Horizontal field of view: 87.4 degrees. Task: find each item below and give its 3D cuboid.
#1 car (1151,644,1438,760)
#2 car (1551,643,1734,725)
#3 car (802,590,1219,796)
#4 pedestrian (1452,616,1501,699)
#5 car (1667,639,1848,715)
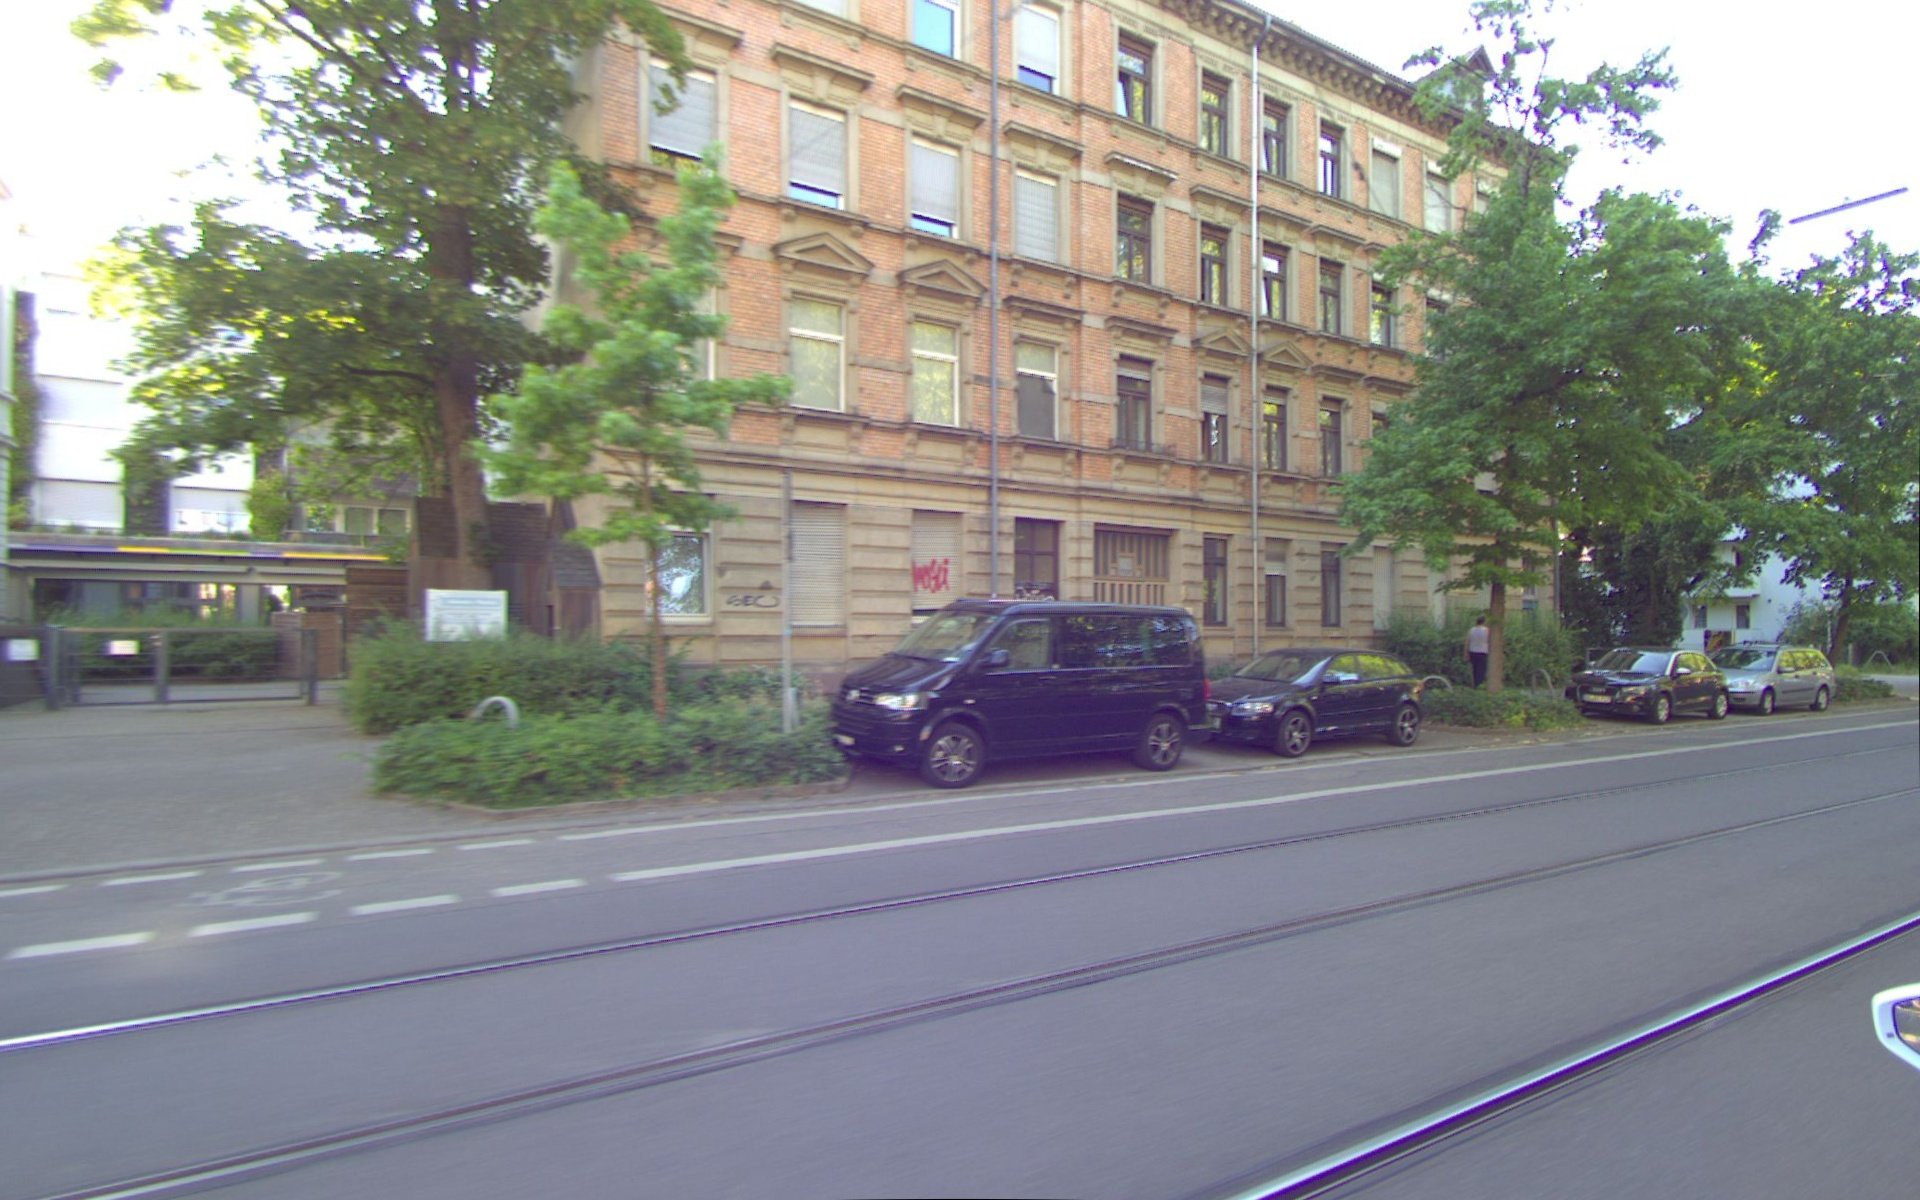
[{"bbox_3d":[5.033,1.408,14.942,4.224,1.477,1.842,1,-2,-33],"label":"car"},{"bbox_3d":[13.748,1.616,20.178,3.906,1.464,1.649,1,-1,-33],"label":"car"},{"bbox_3d":[0.706,1.002,12.104,4.782,2.040,1.982,1,-2,-33],"label":"car"},{"bbox_3d":[11.927,1.308,23.207,0.721,1.872,0.737,1,0,-33],"label":"pedestrian"},{"bbox_3d":[18.342,1.690,23.067,4.480,1.571,1.692,1,-1,-29],"label":"car"}]
